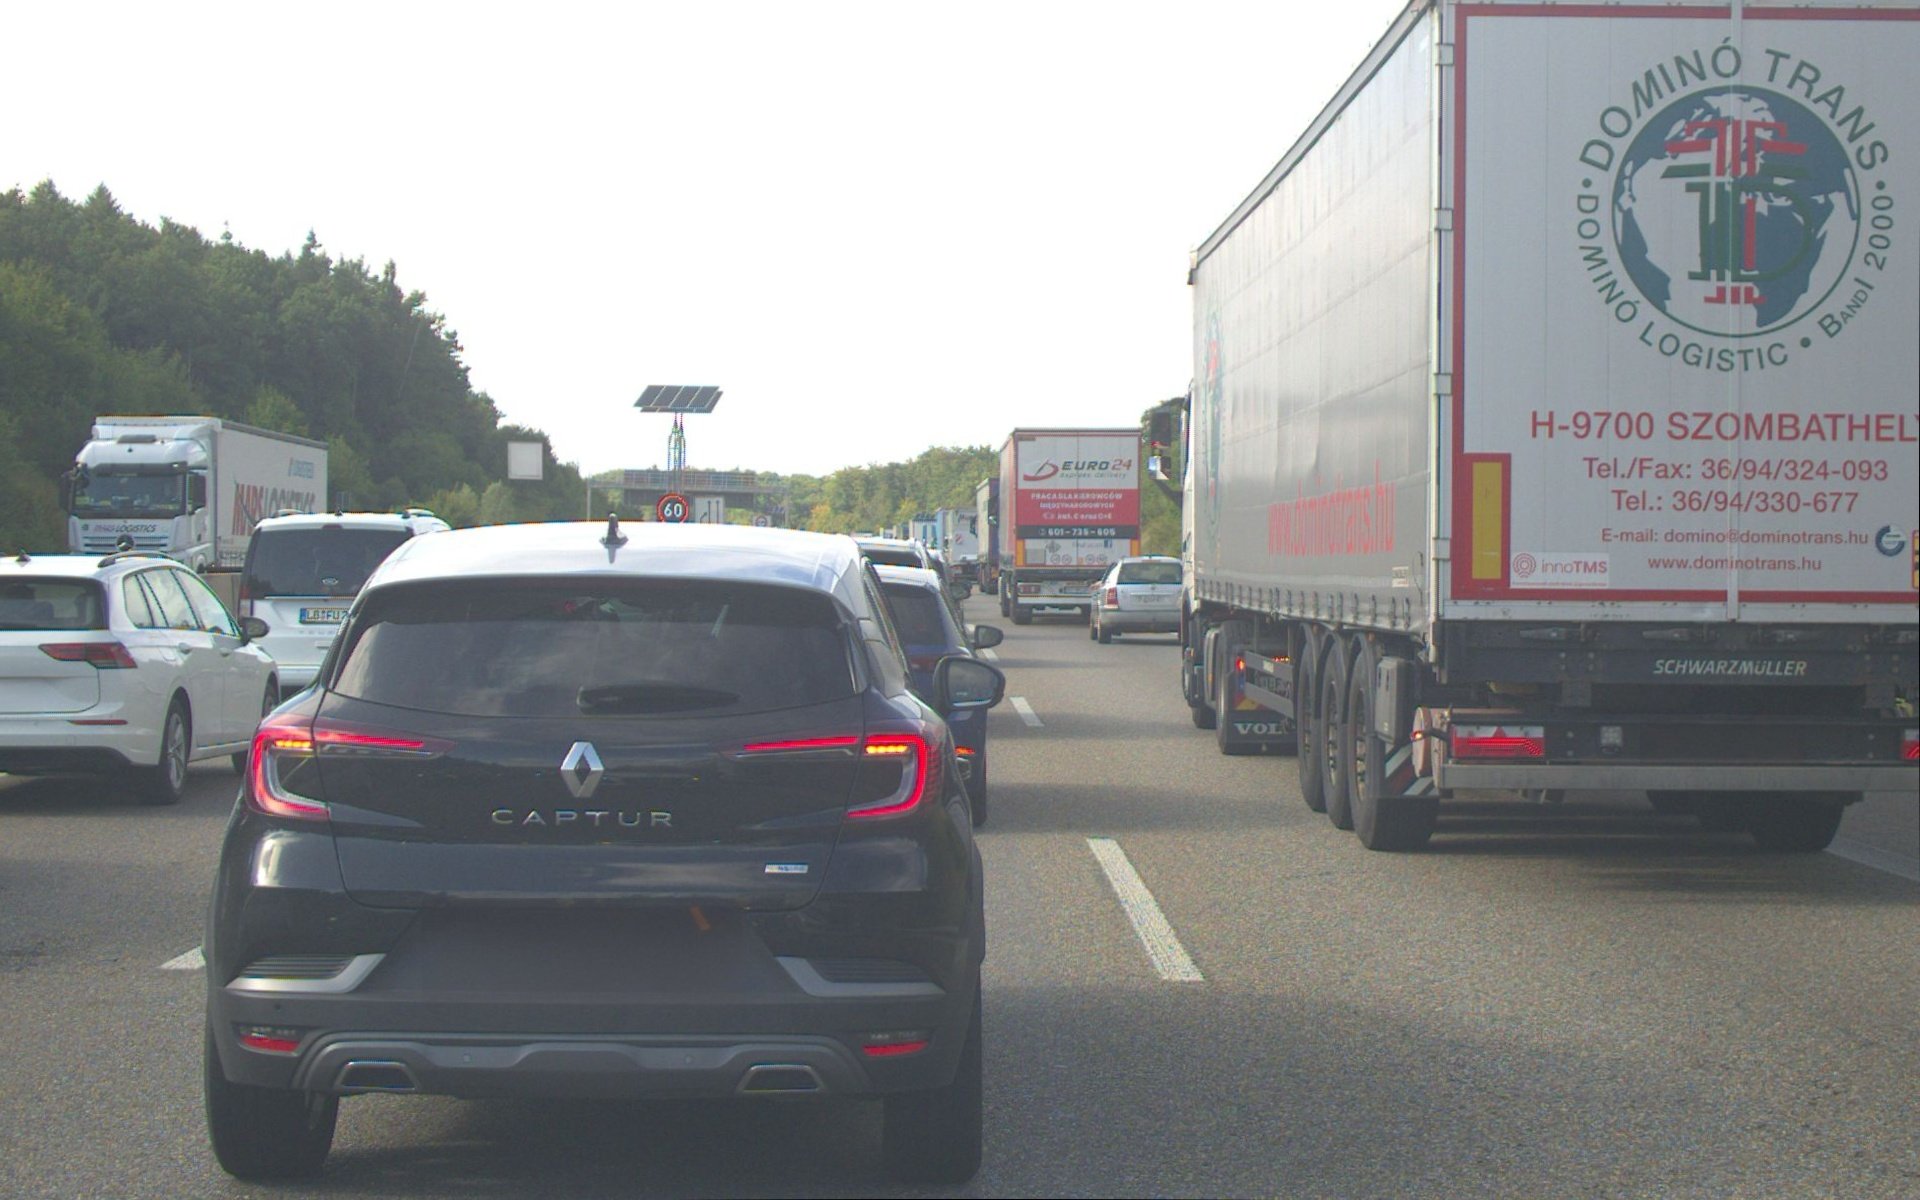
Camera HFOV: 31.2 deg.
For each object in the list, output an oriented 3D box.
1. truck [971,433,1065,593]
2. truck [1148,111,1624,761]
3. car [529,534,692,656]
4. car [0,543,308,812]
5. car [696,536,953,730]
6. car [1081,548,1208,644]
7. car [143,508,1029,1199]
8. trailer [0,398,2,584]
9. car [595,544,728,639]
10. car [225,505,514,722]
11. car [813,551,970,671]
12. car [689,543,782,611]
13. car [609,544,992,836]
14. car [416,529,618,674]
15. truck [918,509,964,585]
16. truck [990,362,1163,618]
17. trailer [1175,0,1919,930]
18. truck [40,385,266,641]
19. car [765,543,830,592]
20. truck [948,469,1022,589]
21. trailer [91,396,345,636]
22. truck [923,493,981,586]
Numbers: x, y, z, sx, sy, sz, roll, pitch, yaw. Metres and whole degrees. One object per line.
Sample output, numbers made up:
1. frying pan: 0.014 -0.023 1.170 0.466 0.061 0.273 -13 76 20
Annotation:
1. truck: 2.062 -3.038 124.794 3.166 5.486 12.737 1 0 0
2. truck: 3.222 -1.226 27.697 2.997 4.651 5.940 0 1 -1
3. car: -5.142 -0.091 51.053 1.993 1.716 4.000 1 0 0
4. car: -5.308 0.401 20.886 1.804 1.456 4.308 0 0 1
5. car: -1.080 0.248 29.289 1.993 1.509 4.000 1 0 0
6. car: 3.046 -0.077 57.452 1.804 1.527 3.926 1 0 -1
7. car: -0.751 0.560 9.225 1.805 1.547 4.000 0 1 2
8. trailer: -21.024 -1.690 63.074 2.927 4.813 14.655 1 0 -1
9. car: -5.286 -0.167 61.257 1.993 1.607 4.000 1 0 0
10. car: -5.221 0.095 30.935 1.911 1.783 4.418 1 0 -1
11. car: -0.874 0.129 46.109 1.993 1.509 4.000 1 0 0
12. car: -5.511 -0.581 84.810 1.993 1.607 4.000 1 1 0
13. car: -0.830 0.458 20.052 1.993 1.509 4.000 1 0 0
14. car: -5.264 0.007 41.322 1.855 1.635 3.925 1 0 1
15. truck: -1.346 -3.864 255.274 3.166 5.486 12.737 1 0 0
16. truck: 2.370 -2.222 74.537 3.365 5.027 12.737 1 0 0
17. trailer: 3.309 -1.097 20.606 3.002 4.645 13.291 1 1 -1
18. truck: -16.874 -1.764 72.376 3.088 5.083 7.142 1 0 -1
19. car: -5.483 -1.112 116.622 1.993 1.607 4.000 1 1 0
20. truck: 1.268 -3.310 164.042 3.167 5.486 12.736 1 0 2
21. trailer: -17.003 -1.830 79.960 3.088 5.056 13.836 1 0 -1
22. truck: -0.413 -3.439 198.153 3.166 5.142 12.737 1 0 0
